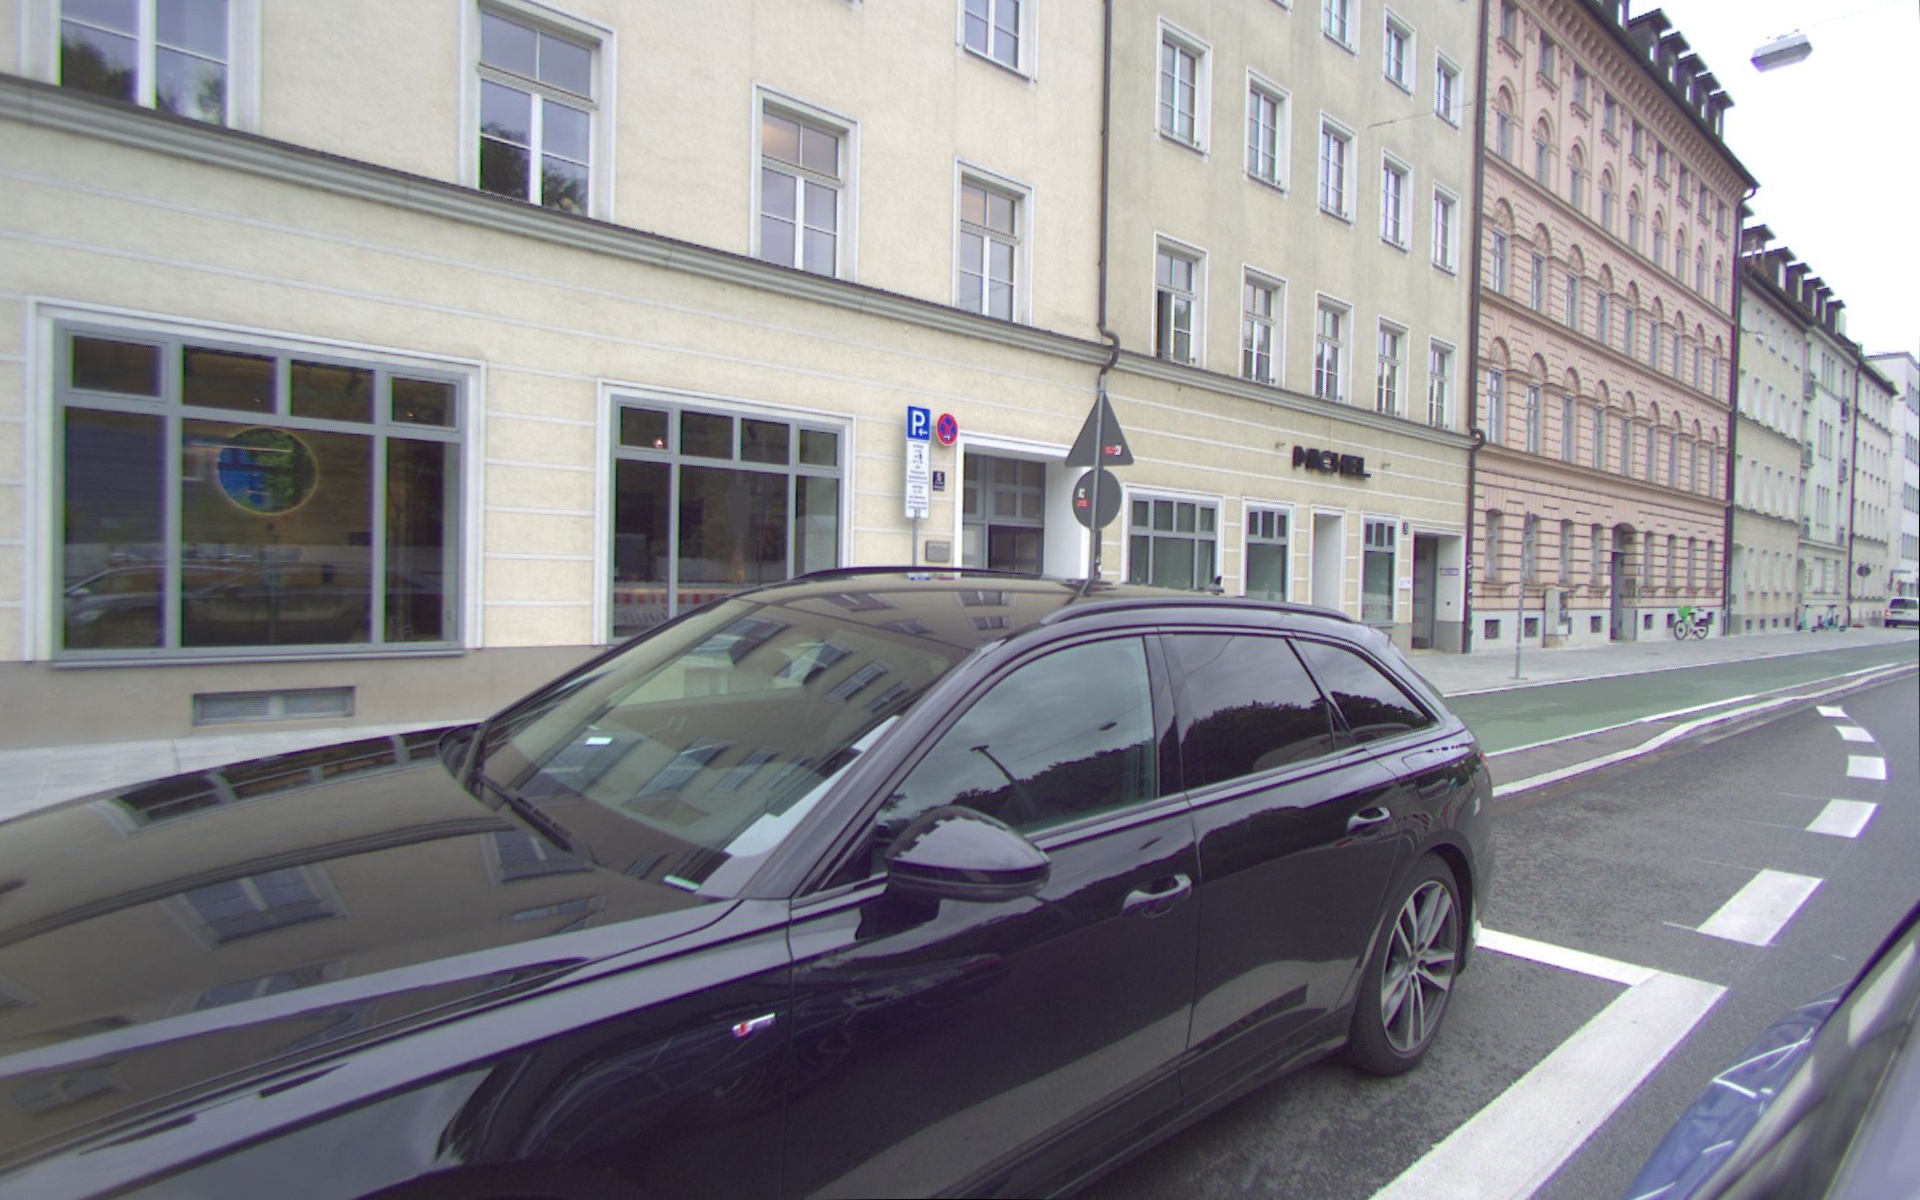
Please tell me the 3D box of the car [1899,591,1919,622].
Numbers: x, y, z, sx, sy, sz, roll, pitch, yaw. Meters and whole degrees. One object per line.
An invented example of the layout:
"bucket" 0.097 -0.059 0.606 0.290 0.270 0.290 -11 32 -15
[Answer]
"car" 56.428 0.410 59.136 4.356 1.771 1.737 1 2 -40

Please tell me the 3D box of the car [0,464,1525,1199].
"car" -0.394 0.609 2.517 4.607 1.498 1.804 0 1 -43

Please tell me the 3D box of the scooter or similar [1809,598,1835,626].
"scooter or similar" 38.954 0.545 45.729 1.096 1.246 0.248 1 2 -14

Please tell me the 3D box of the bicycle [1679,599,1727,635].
"bicycle" 24.855 0.576 33.846 1.695 1.188 0.428 1 1 -23

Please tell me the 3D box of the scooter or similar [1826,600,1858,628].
"scooter or similar" 42.412 0.666 48.665 1.105 1.246 0.246 3 2 18
